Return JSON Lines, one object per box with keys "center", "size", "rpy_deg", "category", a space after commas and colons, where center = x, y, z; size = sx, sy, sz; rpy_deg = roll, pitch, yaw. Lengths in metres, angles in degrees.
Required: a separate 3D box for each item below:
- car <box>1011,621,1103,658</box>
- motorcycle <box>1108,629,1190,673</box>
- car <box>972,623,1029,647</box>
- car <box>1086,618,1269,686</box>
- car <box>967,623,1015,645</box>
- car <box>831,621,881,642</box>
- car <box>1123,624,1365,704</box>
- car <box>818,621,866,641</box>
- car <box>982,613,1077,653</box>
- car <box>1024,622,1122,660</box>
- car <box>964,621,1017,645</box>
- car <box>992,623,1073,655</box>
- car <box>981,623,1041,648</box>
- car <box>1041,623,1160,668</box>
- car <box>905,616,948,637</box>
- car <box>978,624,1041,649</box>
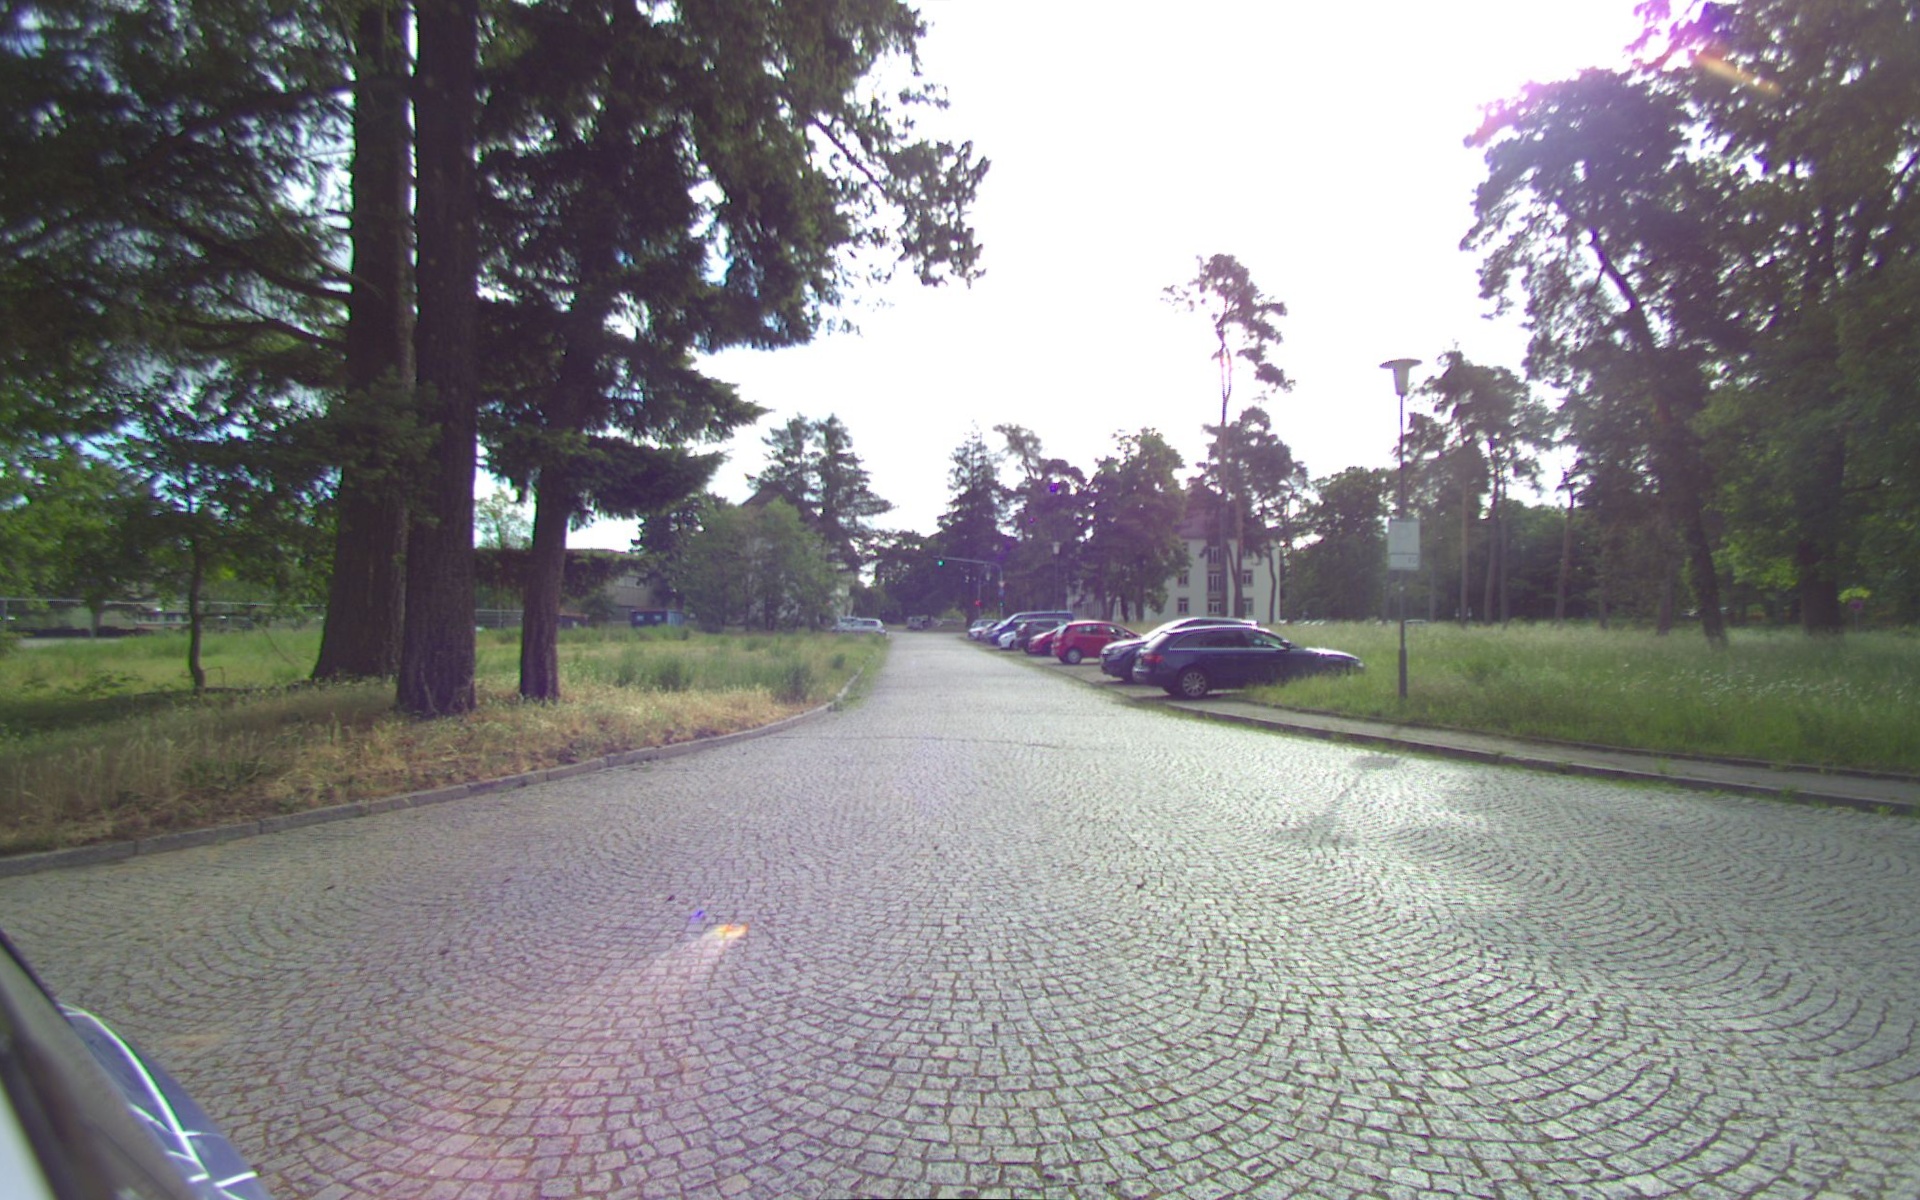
{"center": [4.378, 1.780, 46.010], "size": [3.858, 1.616, 1.823], "rpy_deg": [0, -2, -5], "category": "car"}
{"center": [5.791, 1.564, 31.094], "size": [2.329, 1.298, 0.744], "rpy_deg": [-1, -2, -2], "category": "motorcycle"}
{"center": [2.747, 2.351, 69.119], "size": [3.516, 1.427, 1.642], "rpy_deg": [-3, 0, -10], "category": "car"}
{"center": [5.376, 1.271, 25.344], "size": [4.089, 1.585, 1.792], "rpy_deg": [-1, 0, -4], "category": "car"}
{"center": [2.407, 2.620, 78.535], "size": [3.398, 1.442, 1.632], "rpy_deg": [-3, 0, -13], "category": "car"}
{"center": [-7.945, 2.397, 77.272], "size": [3.674, 1.448, 1.629], "rpy_deg": [-2, 0, -7], "category": "car"}
{"center": [5.654, 1.261, 20.546], "size": [4.384, 1.491, 1.681], "rpy_deg": [-1, -2, 1], "category": "car"}
{"center": [-9.639, 2.485, 82.451], "size": [3.671, 1.448, 1.630], "rpy_deg": [-2, -1, -10], "category": "car"}
{"center": [3.730, 1.781, 54.907], "size": [4.763, 1.880, 2.164], "rpy_deg": [-3, 0, -4], "category": "car"}
{"center": [4.808, 1.755, 43.318], "size": [3.896, 1.532, 1.708], "rpy_deg": [-1, -2, -2], "category": "car"}
{"center": [2.205, 2.373, 73.114], "size": [3.515, 1.498, 1.606], "rpy_deg": [-3, 0, -11], "category": "car"}
{"center": [3.730, 2.000, 52.291], "size": [3.873, 1.403, 1.745], "rpy_deg": [-3, 0, -4], "category": "car"}
{"center": [3.305, 2.293, 65.921], "size": [3.516, 1.445, 1.610], "rpy_deg": [-3, 0, -10], "category": "car"}
{"center": [4.915, 1.582, 35.622], "size": [3.839, 1.490, 1.673], "rpy_deg": [-1, -1, -3], "category": "car"}
{"center": [-4.801, 3.780, 145.544], "size": [5.707, 2.582, 2.775], "rpy_deg": [-3, 0, -8], "category": "car"}
{"center": [3.076, 2.262, 63.176], "size": [3.542, 1.431, 1.622], "rpy_deg": [-2, -1, -10], "category": "car"}
